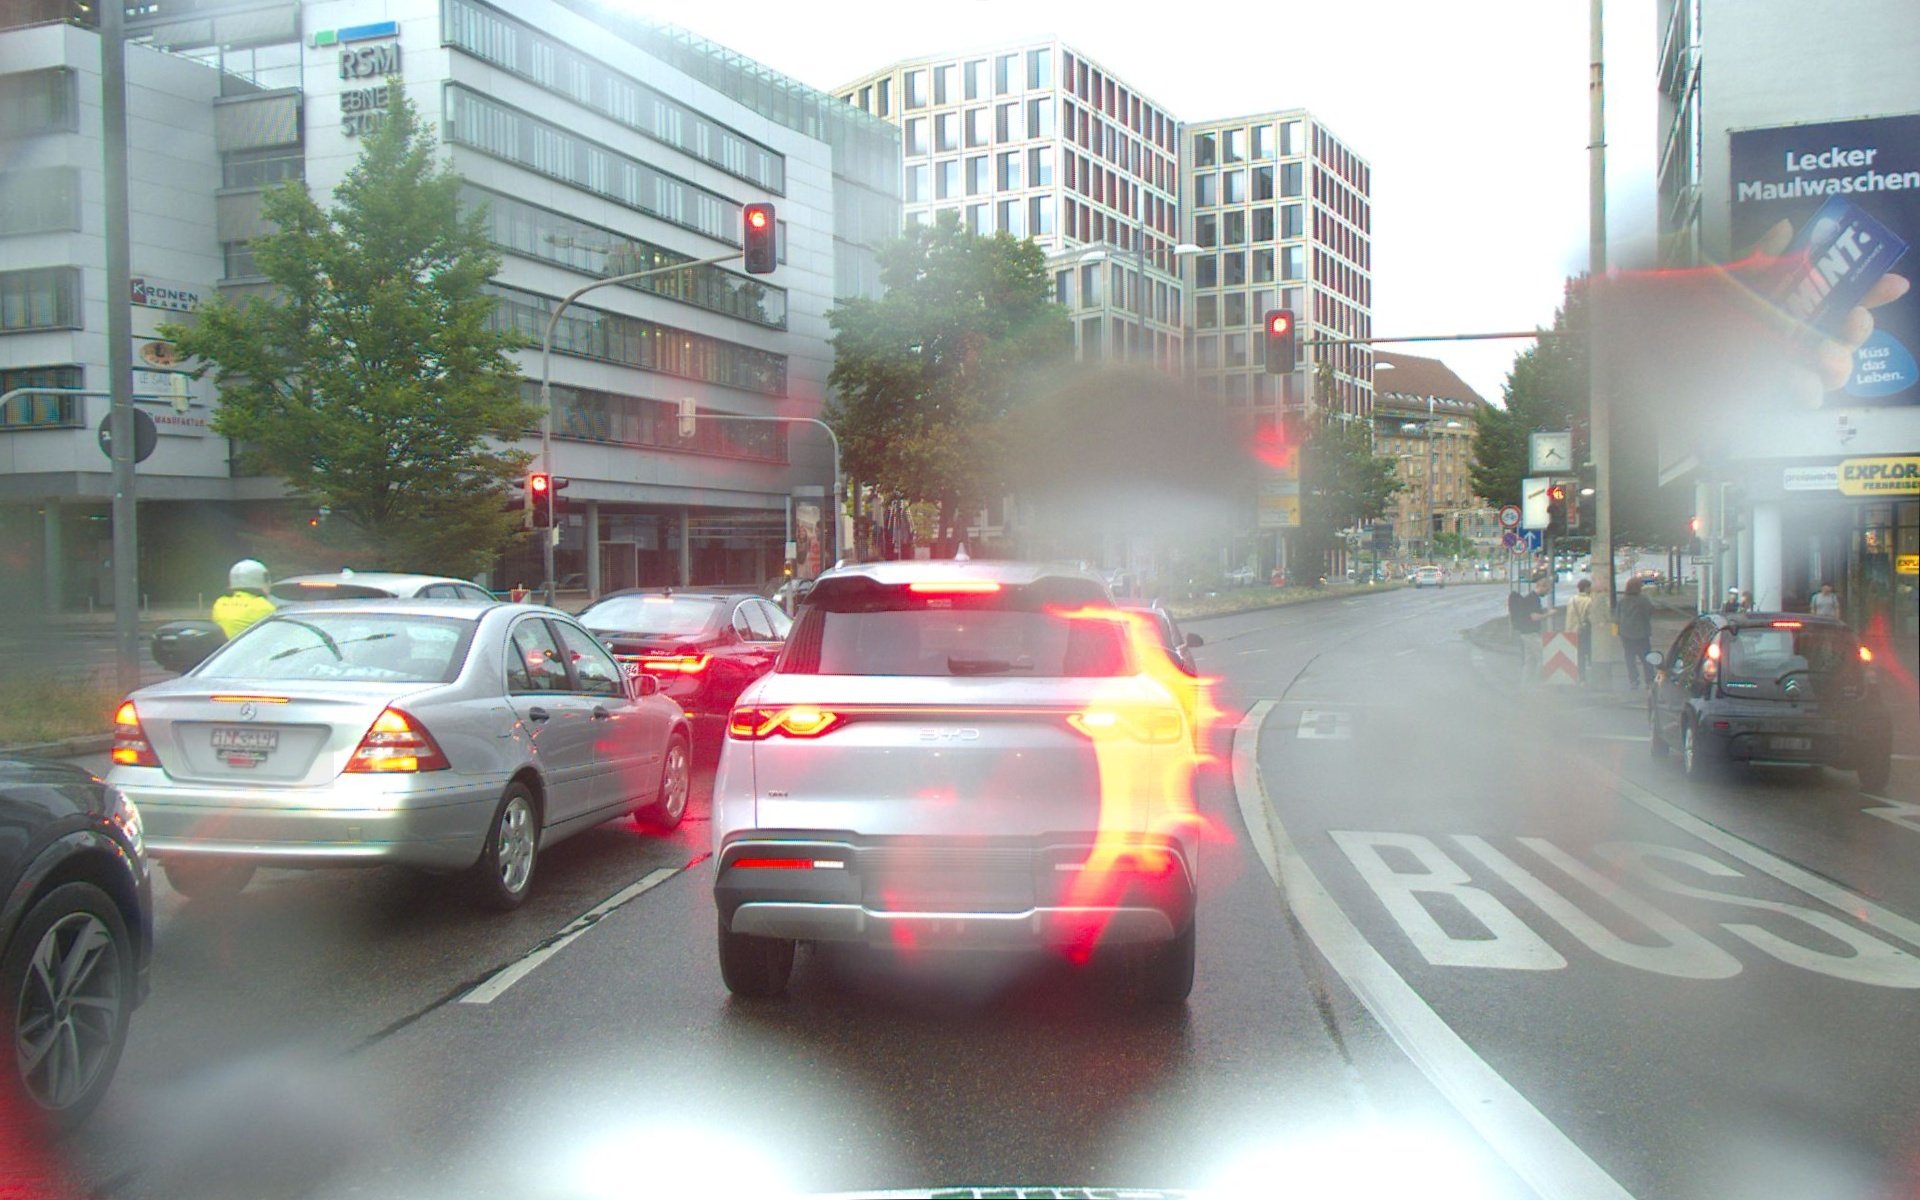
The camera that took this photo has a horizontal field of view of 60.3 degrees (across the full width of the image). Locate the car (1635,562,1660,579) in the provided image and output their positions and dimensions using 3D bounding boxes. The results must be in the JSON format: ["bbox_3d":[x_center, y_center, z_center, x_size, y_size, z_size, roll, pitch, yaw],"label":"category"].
[{"bbox_3d":[62.917,-2.690,151.404,1.662,1.512,3.993,1,0,29],"label":"car"}]

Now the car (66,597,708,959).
[{"bbox_3d":[-2.660,0.726,8.768,1.537,1.432,4.112,1,0,7],"label":"car"}]

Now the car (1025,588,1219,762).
[{"bbox_3d":[1.738,0.672,16.653,1.657,1.512,4.003,1,0,10],"label":"car"}]

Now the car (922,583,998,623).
[{"bbox_3d":[0.038,0.122,61.004,1.655,1.409,3.870,1,0,18],"label":"car"}]

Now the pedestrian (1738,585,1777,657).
[{"bbox_3d":[17.668,0.454,36.652,0.615,1.570,0.649,1,0,43],"label":"pedestrian"}]

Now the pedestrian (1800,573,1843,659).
[{"bbox_3d":[18.709,0.339,35.911,0.659,1.825,0.768,1,0,43],"label":"pedestrian"}]

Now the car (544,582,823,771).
[{"bbox_3d":[-2.435,0.632,15.516,1.537,1.512,4.003,1,0,6],"label":"car"}]

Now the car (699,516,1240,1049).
[{"bbox_3d":[0.076,0.600,7.387,1.739,1.708,4.000,1,0,1],"label":"car"}]

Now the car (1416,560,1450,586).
[{"bbox_3d":[31.991,-1.823,111.757,1.849,1.671,4.000,1,1,22],"label":"car"}]

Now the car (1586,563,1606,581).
[{"bbox_3d":[77.260,-3.389,200.884,1.954,2.049,3.996,1,0,26],"label":"car"}]

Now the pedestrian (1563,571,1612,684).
[{"bbox_3d":[10.344,0.441,27.295,0.733,1.829,0.817,0,1,20],"label":"pedestrian"}]

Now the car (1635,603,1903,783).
[{"bbox_3d":[7.482,0.776,15.651,1.537,1.454,4.003,1,0,15],"label":"car"}]

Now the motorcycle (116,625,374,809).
[{"bbox_3d":[-5.204,0.806,12.204,0.783,1.205,2.030,1,0,8],"label":"motorcycle"}]

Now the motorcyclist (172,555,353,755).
[{"bbox_3d":[-5.166,0.391,12.314,0.753,1.404,1.119,1,0,8],"label":"motorcyclist"}]

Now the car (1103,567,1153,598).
[{"bbox_3d":[8.947,-0.932,87.764,1.610,1.608,4.086,1,0,21],"label":"car"}]

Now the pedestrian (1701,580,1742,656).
[{"bbox_3d":[17.111,0.402,37.181,0.659,1.684,0.649,1,0,43],"label":"pedestrian"}]

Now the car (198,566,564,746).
[{"bbox_3d":[-5.460,0.489,16.184,1.670,1.512,4.003,1,0,9],"label":"car"}]

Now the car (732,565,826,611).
[{"bbox_3d":[-6.710,-0.444,61.679,1.952,1.639,4.001,1,1,20],"label":"car"}]

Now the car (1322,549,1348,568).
[{"bbox_3d":[37.288,-4.075,164.338,1.577,1.771,3.437,1,0,31],"label":"car"}]

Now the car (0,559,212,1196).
[{"bbox_3d":[-3.122,0.672,2.981,1.614,1.548,4.271,1,1,0],"label":"car"}]

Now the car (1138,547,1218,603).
[{"bbox_3d":[8.641,-0.949,65.181,1.953,2.049,4.848,1,0,22],"label":"car"}]

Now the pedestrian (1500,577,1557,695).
[{"bbox_3d":[8.615,0.532,25.067,0.753,1.762,0.597,0,0,13],"label":"pedestrian"}]

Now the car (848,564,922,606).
[{"bbox_3d":[-2.795,-0.565,62.833,1.609,1.563,4.155,1,0,15],"label":"car"}]

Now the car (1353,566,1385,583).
[{"bbox_3d":[36.795,-2.316,148.820,1.955,1.514,3.996,0,1,27],"label":"car"}]

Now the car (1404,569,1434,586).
[{"bbox_3d":[42.937,-2.129,154.719,1.955,1.514,3.996,0,1,27],"label":"car"}]

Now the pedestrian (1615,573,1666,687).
[{"bbox_3d":[11.092,0.474,26.971,0.733,1.829,0.817,0,1,20],"label":"pedestrian"}]

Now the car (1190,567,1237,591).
[{"bbox_3d":[16.787,-1.405,109.419,1.955,1.514,3.996,0,1,27],"label":"car"}]
